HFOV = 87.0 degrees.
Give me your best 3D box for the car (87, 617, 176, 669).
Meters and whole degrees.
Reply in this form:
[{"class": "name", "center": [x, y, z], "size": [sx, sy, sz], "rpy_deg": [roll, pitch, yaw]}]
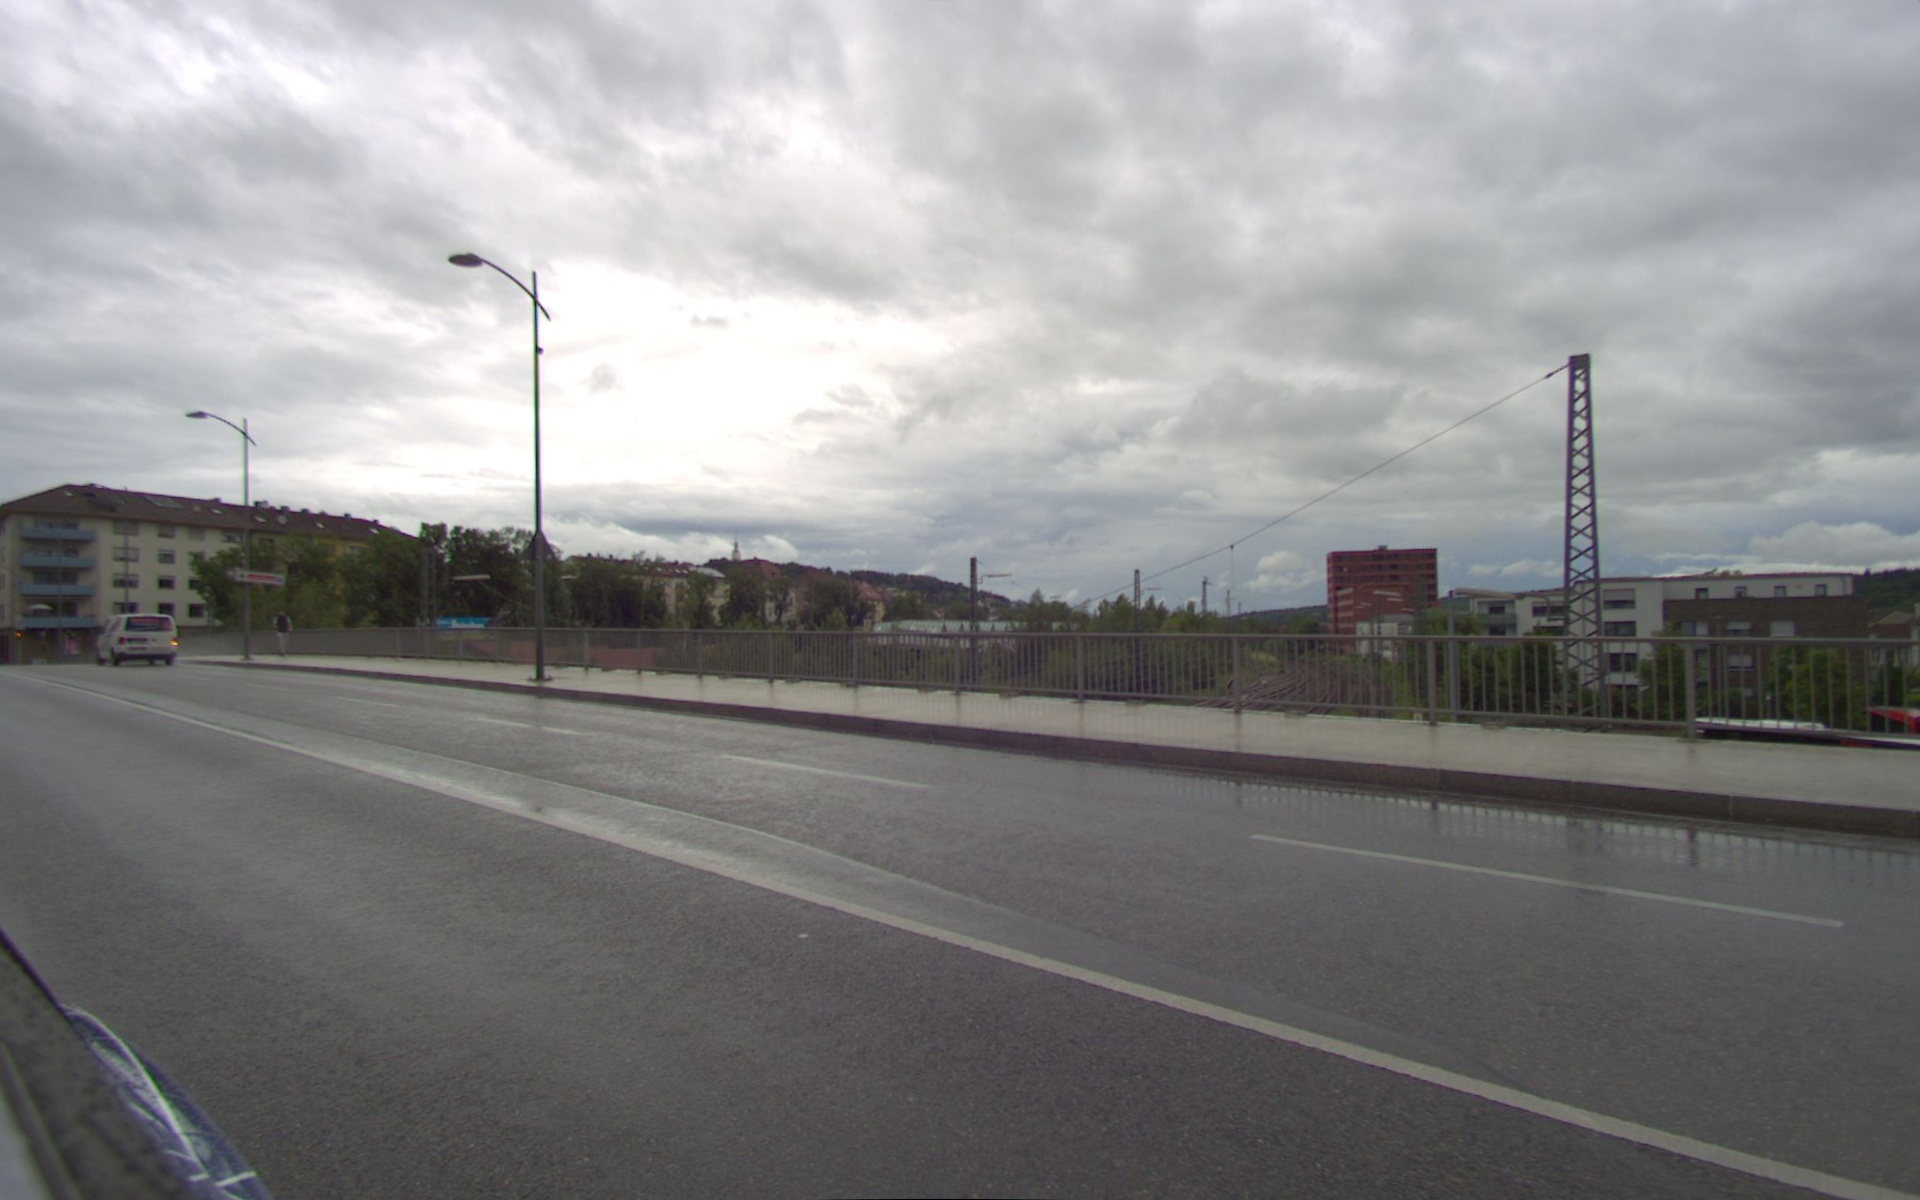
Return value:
[{"class": "car", "center": [-31.960, 1.628, 38.980], "size": [4.956, 1.836, 1.867], "rpy_deg": [-2, -1, 41]}]
